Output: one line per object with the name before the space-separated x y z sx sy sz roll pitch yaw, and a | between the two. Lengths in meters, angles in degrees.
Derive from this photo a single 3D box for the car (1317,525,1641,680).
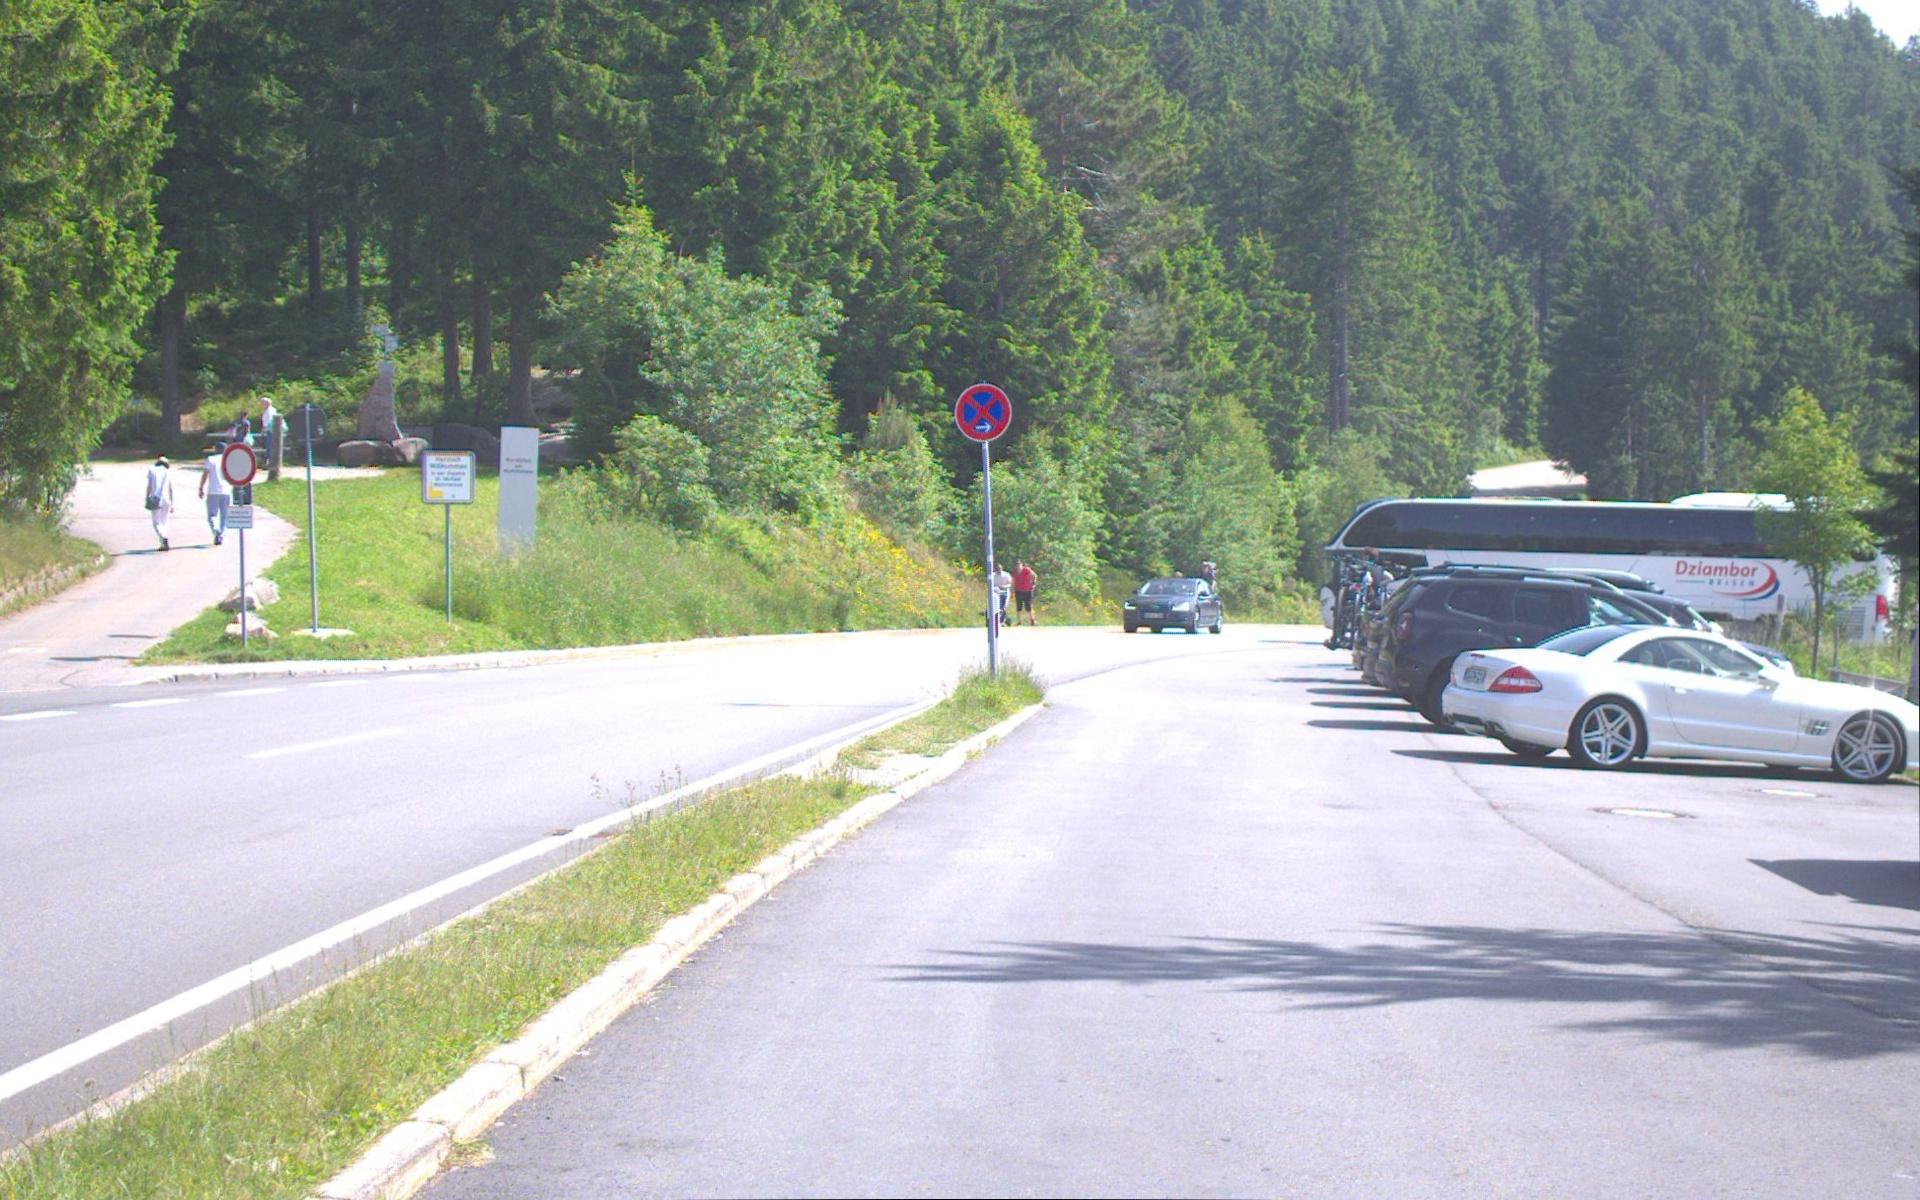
car | 6.832 0.013 45.620 3.987 1.713 1.867 4 3 3

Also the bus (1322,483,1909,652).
bus | 14.920 -0.833 78.657 12.873 3.565 2.979 1 3 20

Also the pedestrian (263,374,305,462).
pedestrian | -15.645 -4.210 79.552 0.815 2.006 0.854 -2 2 -5

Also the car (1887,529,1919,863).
car | 6.556 0.652 18.581 1.905 1.965 4.819 4 1 3

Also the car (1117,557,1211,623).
car | 5.369 -0.290 90.128 1.994 1.656 3.999 0 1 10

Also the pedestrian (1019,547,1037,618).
pedestrian | 1.688 -0.429 85.551 0.394 1.741 0.406 -1 2 3

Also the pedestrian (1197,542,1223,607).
pedestrian | 7.763 -0.788 106.676 0.733 2.007 0.862 -1 -1 3

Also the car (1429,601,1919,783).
car | 6.658 0.834 30.992 4.452 1.294 1.583 4 1 -13

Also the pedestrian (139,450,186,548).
pedestrian | -13.775 -1.741 59.388 0.652 1.661 0.643 -1 -1 -3

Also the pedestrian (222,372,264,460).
pedestrian | -16.694 -4.283 80.096 0.797 2.006 0.940 -2 2 -5

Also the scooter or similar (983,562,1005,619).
scooter or similar | 0.838 -0.231 85.565 0.483 1.375 0.817 -1 2 3

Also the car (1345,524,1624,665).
car | 7.973 -0.102 52.576 3.988 1.808 1.939 4 3 5

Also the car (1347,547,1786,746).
car | 6.227 0.460 35.597 3.986 1.693 2.001 4 2 -4

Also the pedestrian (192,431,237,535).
pedestrian | -13.041 -2.038 60.161 0.652 1.793 0.643 -1 0 -3

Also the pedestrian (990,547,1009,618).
pedestrian | 0.982 -0.438 86.179 0.415 1.741 0.457 -1 2 3
